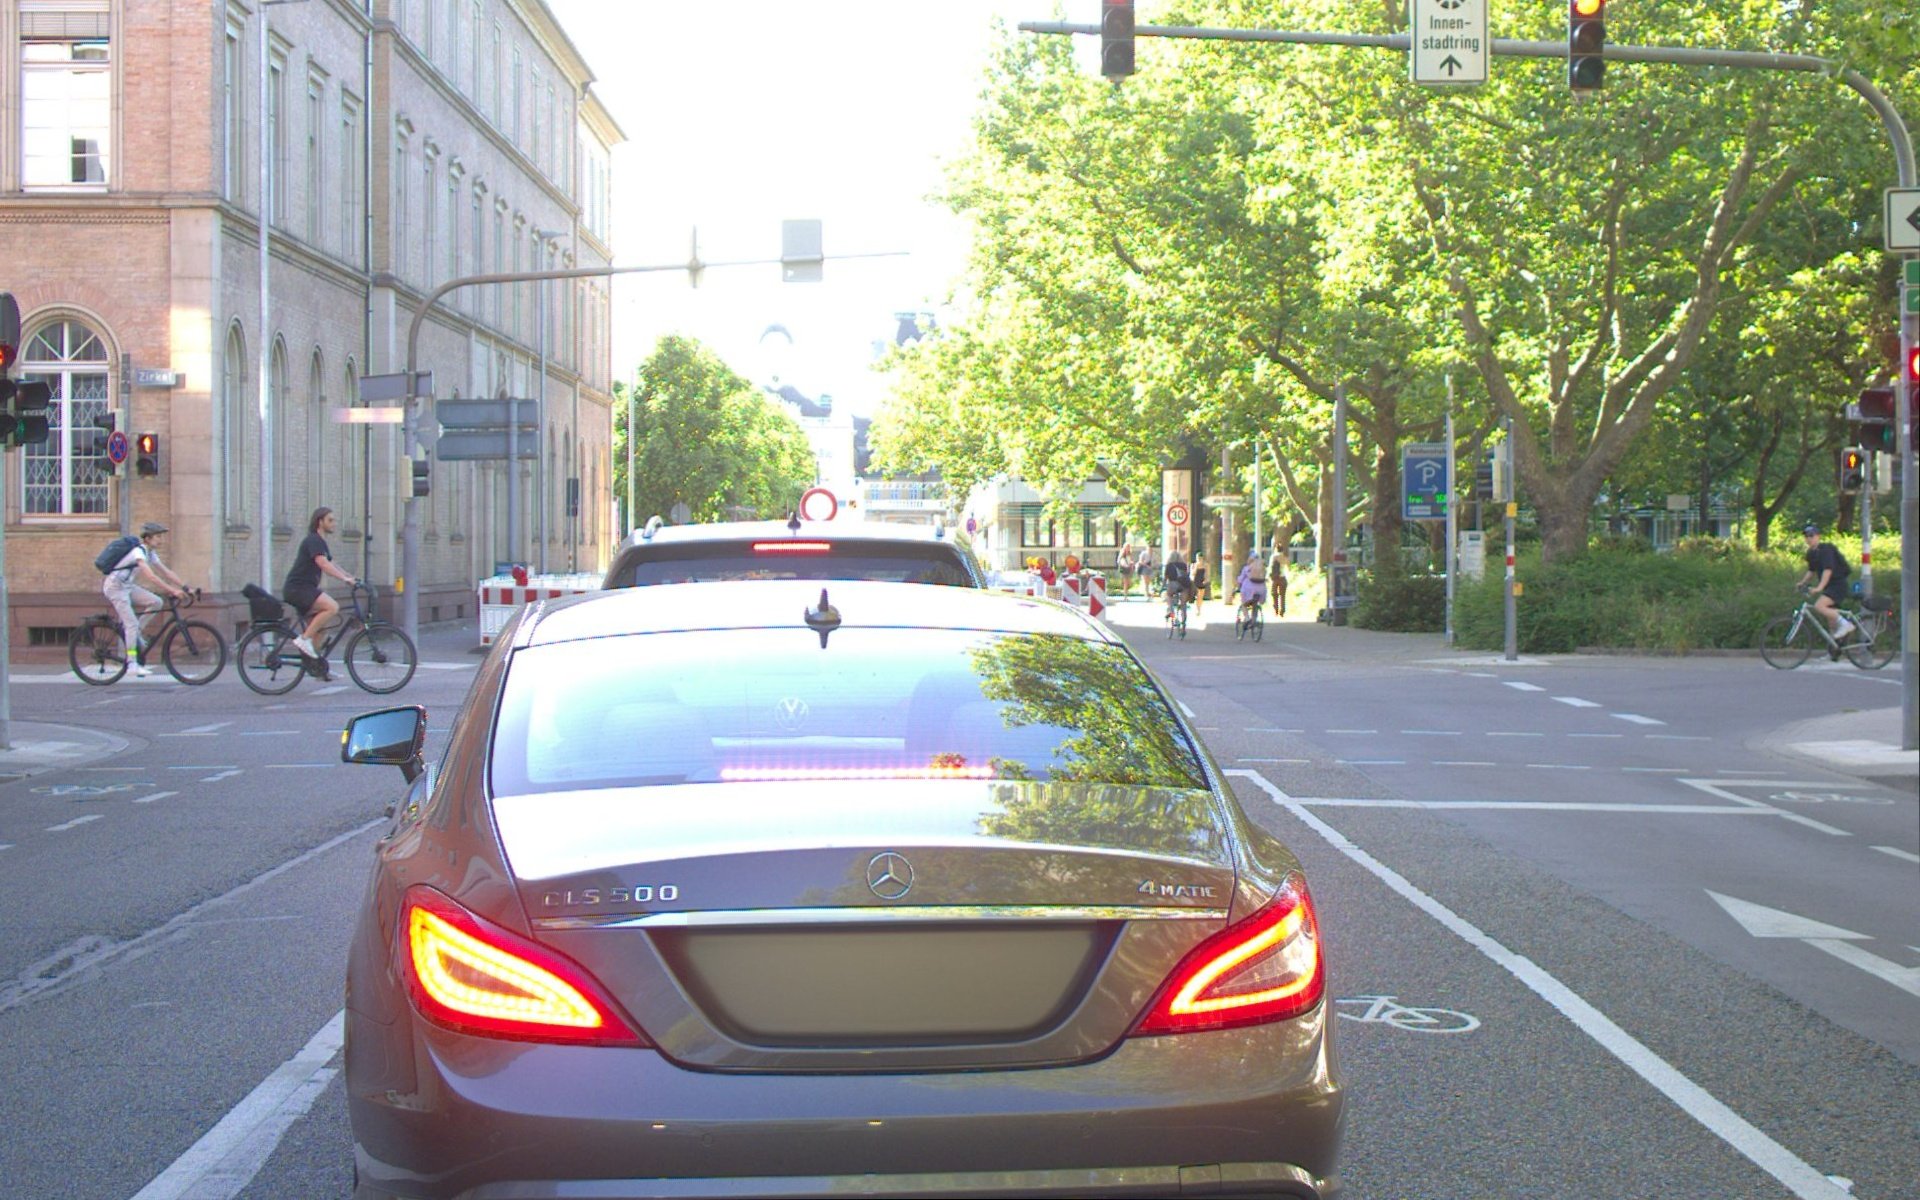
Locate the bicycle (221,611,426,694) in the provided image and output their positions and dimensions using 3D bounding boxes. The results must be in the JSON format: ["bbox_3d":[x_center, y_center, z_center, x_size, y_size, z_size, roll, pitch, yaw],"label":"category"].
[{"bbox_3d":[-6.522,0.536,35.268,1.974,0.834,0.677,0,1,0],"label":"bicycle"}]

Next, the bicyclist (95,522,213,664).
[{"bbox_3d":[-8.732,-0.083,37.260,1.075,1.514,0.716,0,1,5],"label":"bicyclist"}]

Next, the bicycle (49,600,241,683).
[{"bbox_3d":[-8.824,0.443,37.268,1.893,0.879,0.725,0,1,4],"label":"bicycle"}]

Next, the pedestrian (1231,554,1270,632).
[{"bbox_3d":[5.349,-0.125,63.250,0.648,1.428,0.659,0,1,-1],"label":"pedestrian"}]

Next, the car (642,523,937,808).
[{"bbox_3d":[-1.076,0.373,23.251,1.820,1.756,4.000,0,1,-1],"label":"car"}]

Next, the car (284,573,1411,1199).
[{"bbox_3d":[-0.451,0.674,7.654,1.803,1.451,4.352,0,0,-8],"label":"car"}]

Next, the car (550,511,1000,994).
[{"bbox_3d":[-0.721,0.491,13.700,1.517,1.641,3.881,1,1,-3],"label":"car"}]

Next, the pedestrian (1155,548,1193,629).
[{"bbox_3d":[3.972,-0.225,63.920,0.648,1.498,0.637,0,1,-1],"label":"pedestrian"}]

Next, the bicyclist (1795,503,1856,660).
[{"bbox_3d":[11.126,-0.236,44.227,0.652,2.007,0.440,0,1,-3],"label":"bicyclist"}]

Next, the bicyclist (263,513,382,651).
[{"bbox_3d":[-6.536,-0.186,35.265,1.103,1.398,0.657,0,1,-1],"label":"bicyclist"}]
